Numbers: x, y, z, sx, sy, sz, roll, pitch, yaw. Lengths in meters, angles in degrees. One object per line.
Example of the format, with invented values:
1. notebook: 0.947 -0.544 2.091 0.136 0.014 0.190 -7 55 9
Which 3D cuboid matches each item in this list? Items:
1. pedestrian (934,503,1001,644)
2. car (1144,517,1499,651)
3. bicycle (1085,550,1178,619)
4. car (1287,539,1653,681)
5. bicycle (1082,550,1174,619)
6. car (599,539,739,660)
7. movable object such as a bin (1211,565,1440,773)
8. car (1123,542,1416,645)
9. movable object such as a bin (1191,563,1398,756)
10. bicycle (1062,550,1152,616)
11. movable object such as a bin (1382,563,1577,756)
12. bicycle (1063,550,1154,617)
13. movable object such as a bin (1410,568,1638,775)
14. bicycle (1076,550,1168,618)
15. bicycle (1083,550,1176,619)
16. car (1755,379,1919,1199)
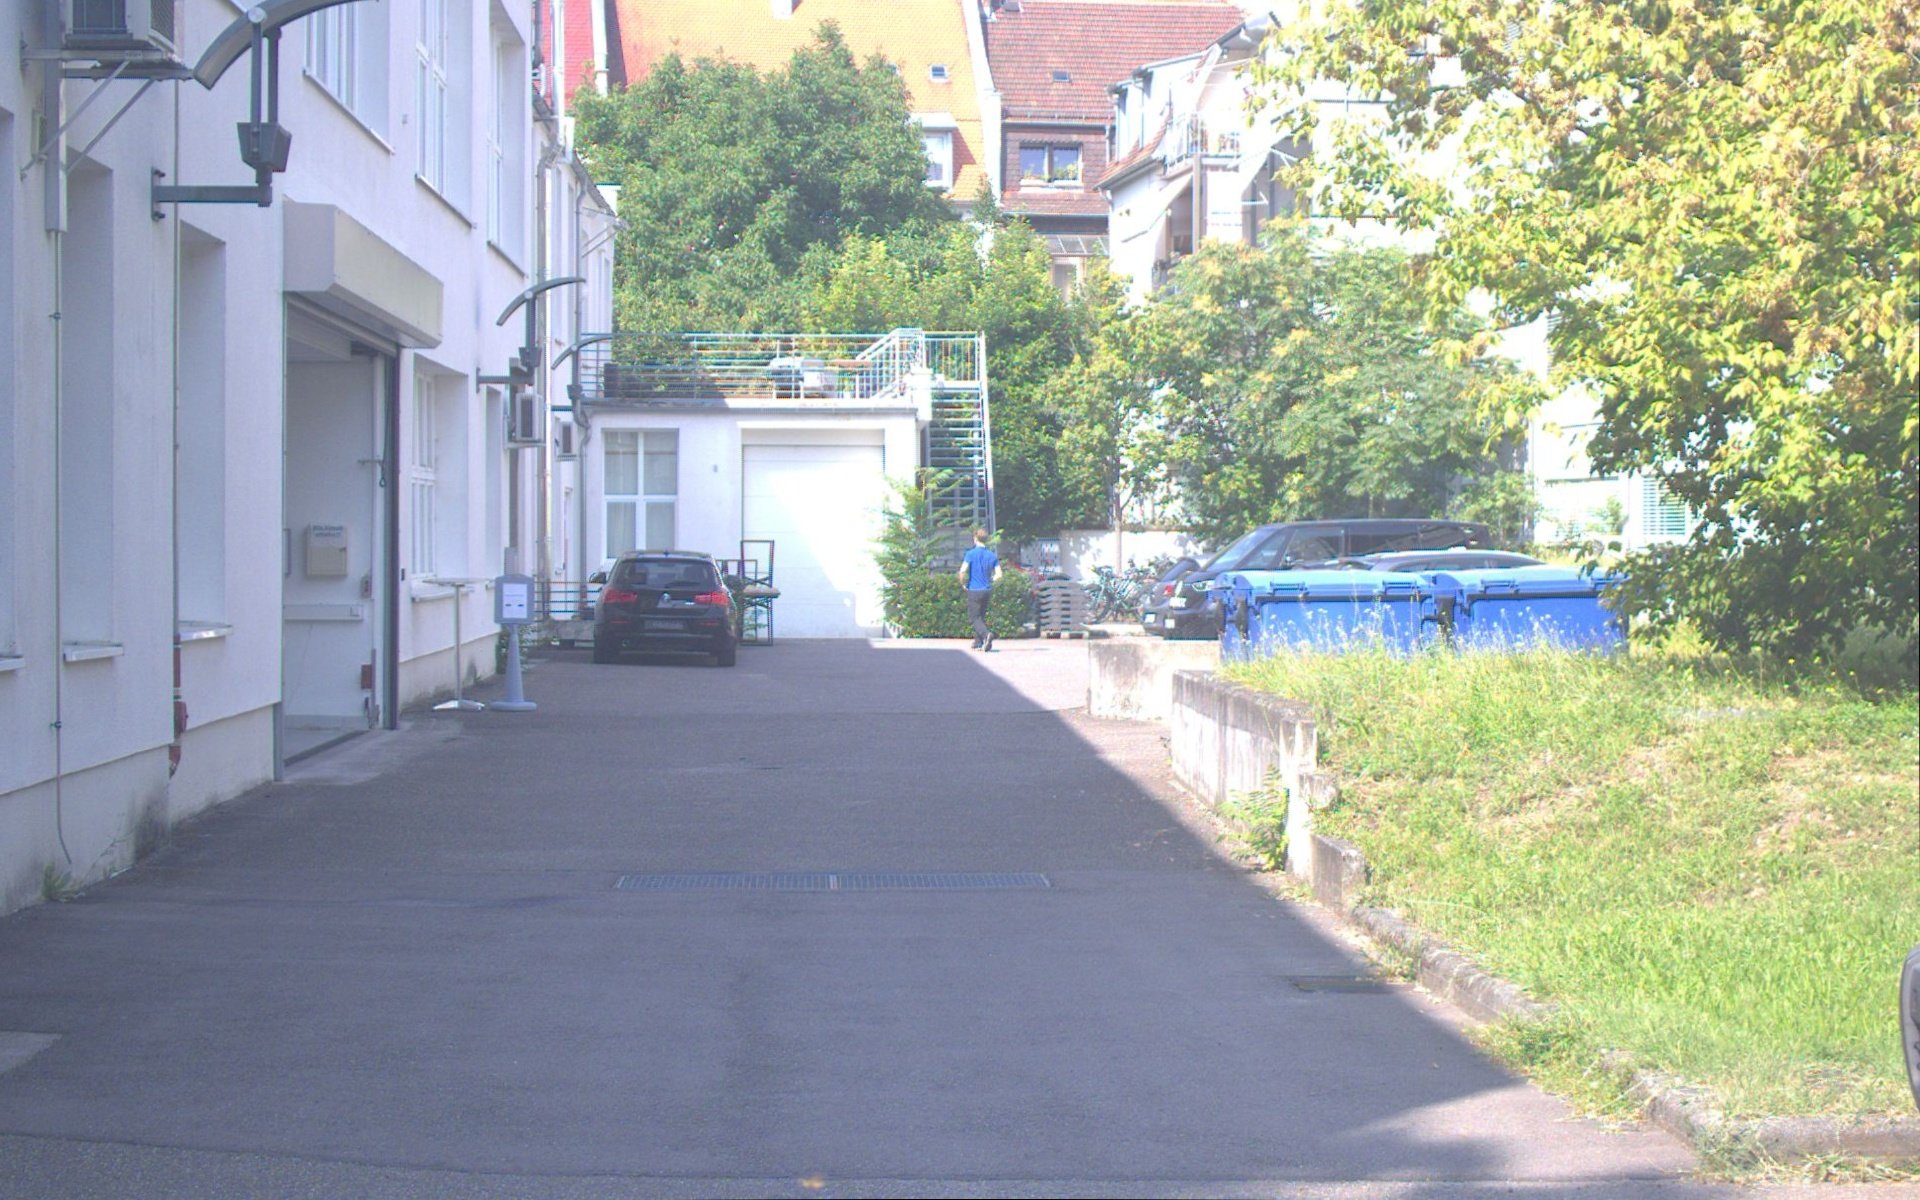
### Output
1. pedestrian: 0.101 -0.379 49.572 0.913 2.007 0.935 1 0 -2
2. car: 4.951 -0.225 47.342 4.499 1.788 1.883 0 0 -11
3. bicycle: 3.049 -0.279 61.187 1.623 1.210 0.327 0 1 -1
4. car: 5.948 0.104 40.351 3.861 1.583 1.880 1 0 -7
5. bicycle: 3.008 -0.283 61.480 1.623 1.210 0.327 0 1 -1
6. car: -3.686 -0.023 43.914 1.688 1.454 3.923 1 1 -4
7. movable object such as a bin: 2.418 0.445 22.911 1.309 1.336 1.100 1 0 -5
8. car: 4.499 -0.100 50.216 3.931 1.477 1.775 0 0 -11
9. movable object such as a bin: 2.385 0.409 24.663 1.300 1.336 1.195 1 0 -3
10. bicycle: 2.745 -0.313 64.202 1.623 1.210 0.424 -1 1 -7
11. movable object such as a bin: 3.712 0.411 24.666 1.234 1.336 1.117 1 0 1
12. bicycle: 2.716 -0.301 62.963 1.623 1.210 0.424 0 1 -3
13. movable object such as a bin: 3.749 0.463 22.948 1.226 1.336 1.077 1 0 -7
14. bicycle: 2.932 -0.292 62.293 1.624 1.210 0.327 0 1 11
15. bicycle: 2.996 -0.277 60.864 1.623 1.210 0.327 0 1 -1
16. car: 4.487 0.545 7.565 4.957 1.914 2.044 1 0 0
